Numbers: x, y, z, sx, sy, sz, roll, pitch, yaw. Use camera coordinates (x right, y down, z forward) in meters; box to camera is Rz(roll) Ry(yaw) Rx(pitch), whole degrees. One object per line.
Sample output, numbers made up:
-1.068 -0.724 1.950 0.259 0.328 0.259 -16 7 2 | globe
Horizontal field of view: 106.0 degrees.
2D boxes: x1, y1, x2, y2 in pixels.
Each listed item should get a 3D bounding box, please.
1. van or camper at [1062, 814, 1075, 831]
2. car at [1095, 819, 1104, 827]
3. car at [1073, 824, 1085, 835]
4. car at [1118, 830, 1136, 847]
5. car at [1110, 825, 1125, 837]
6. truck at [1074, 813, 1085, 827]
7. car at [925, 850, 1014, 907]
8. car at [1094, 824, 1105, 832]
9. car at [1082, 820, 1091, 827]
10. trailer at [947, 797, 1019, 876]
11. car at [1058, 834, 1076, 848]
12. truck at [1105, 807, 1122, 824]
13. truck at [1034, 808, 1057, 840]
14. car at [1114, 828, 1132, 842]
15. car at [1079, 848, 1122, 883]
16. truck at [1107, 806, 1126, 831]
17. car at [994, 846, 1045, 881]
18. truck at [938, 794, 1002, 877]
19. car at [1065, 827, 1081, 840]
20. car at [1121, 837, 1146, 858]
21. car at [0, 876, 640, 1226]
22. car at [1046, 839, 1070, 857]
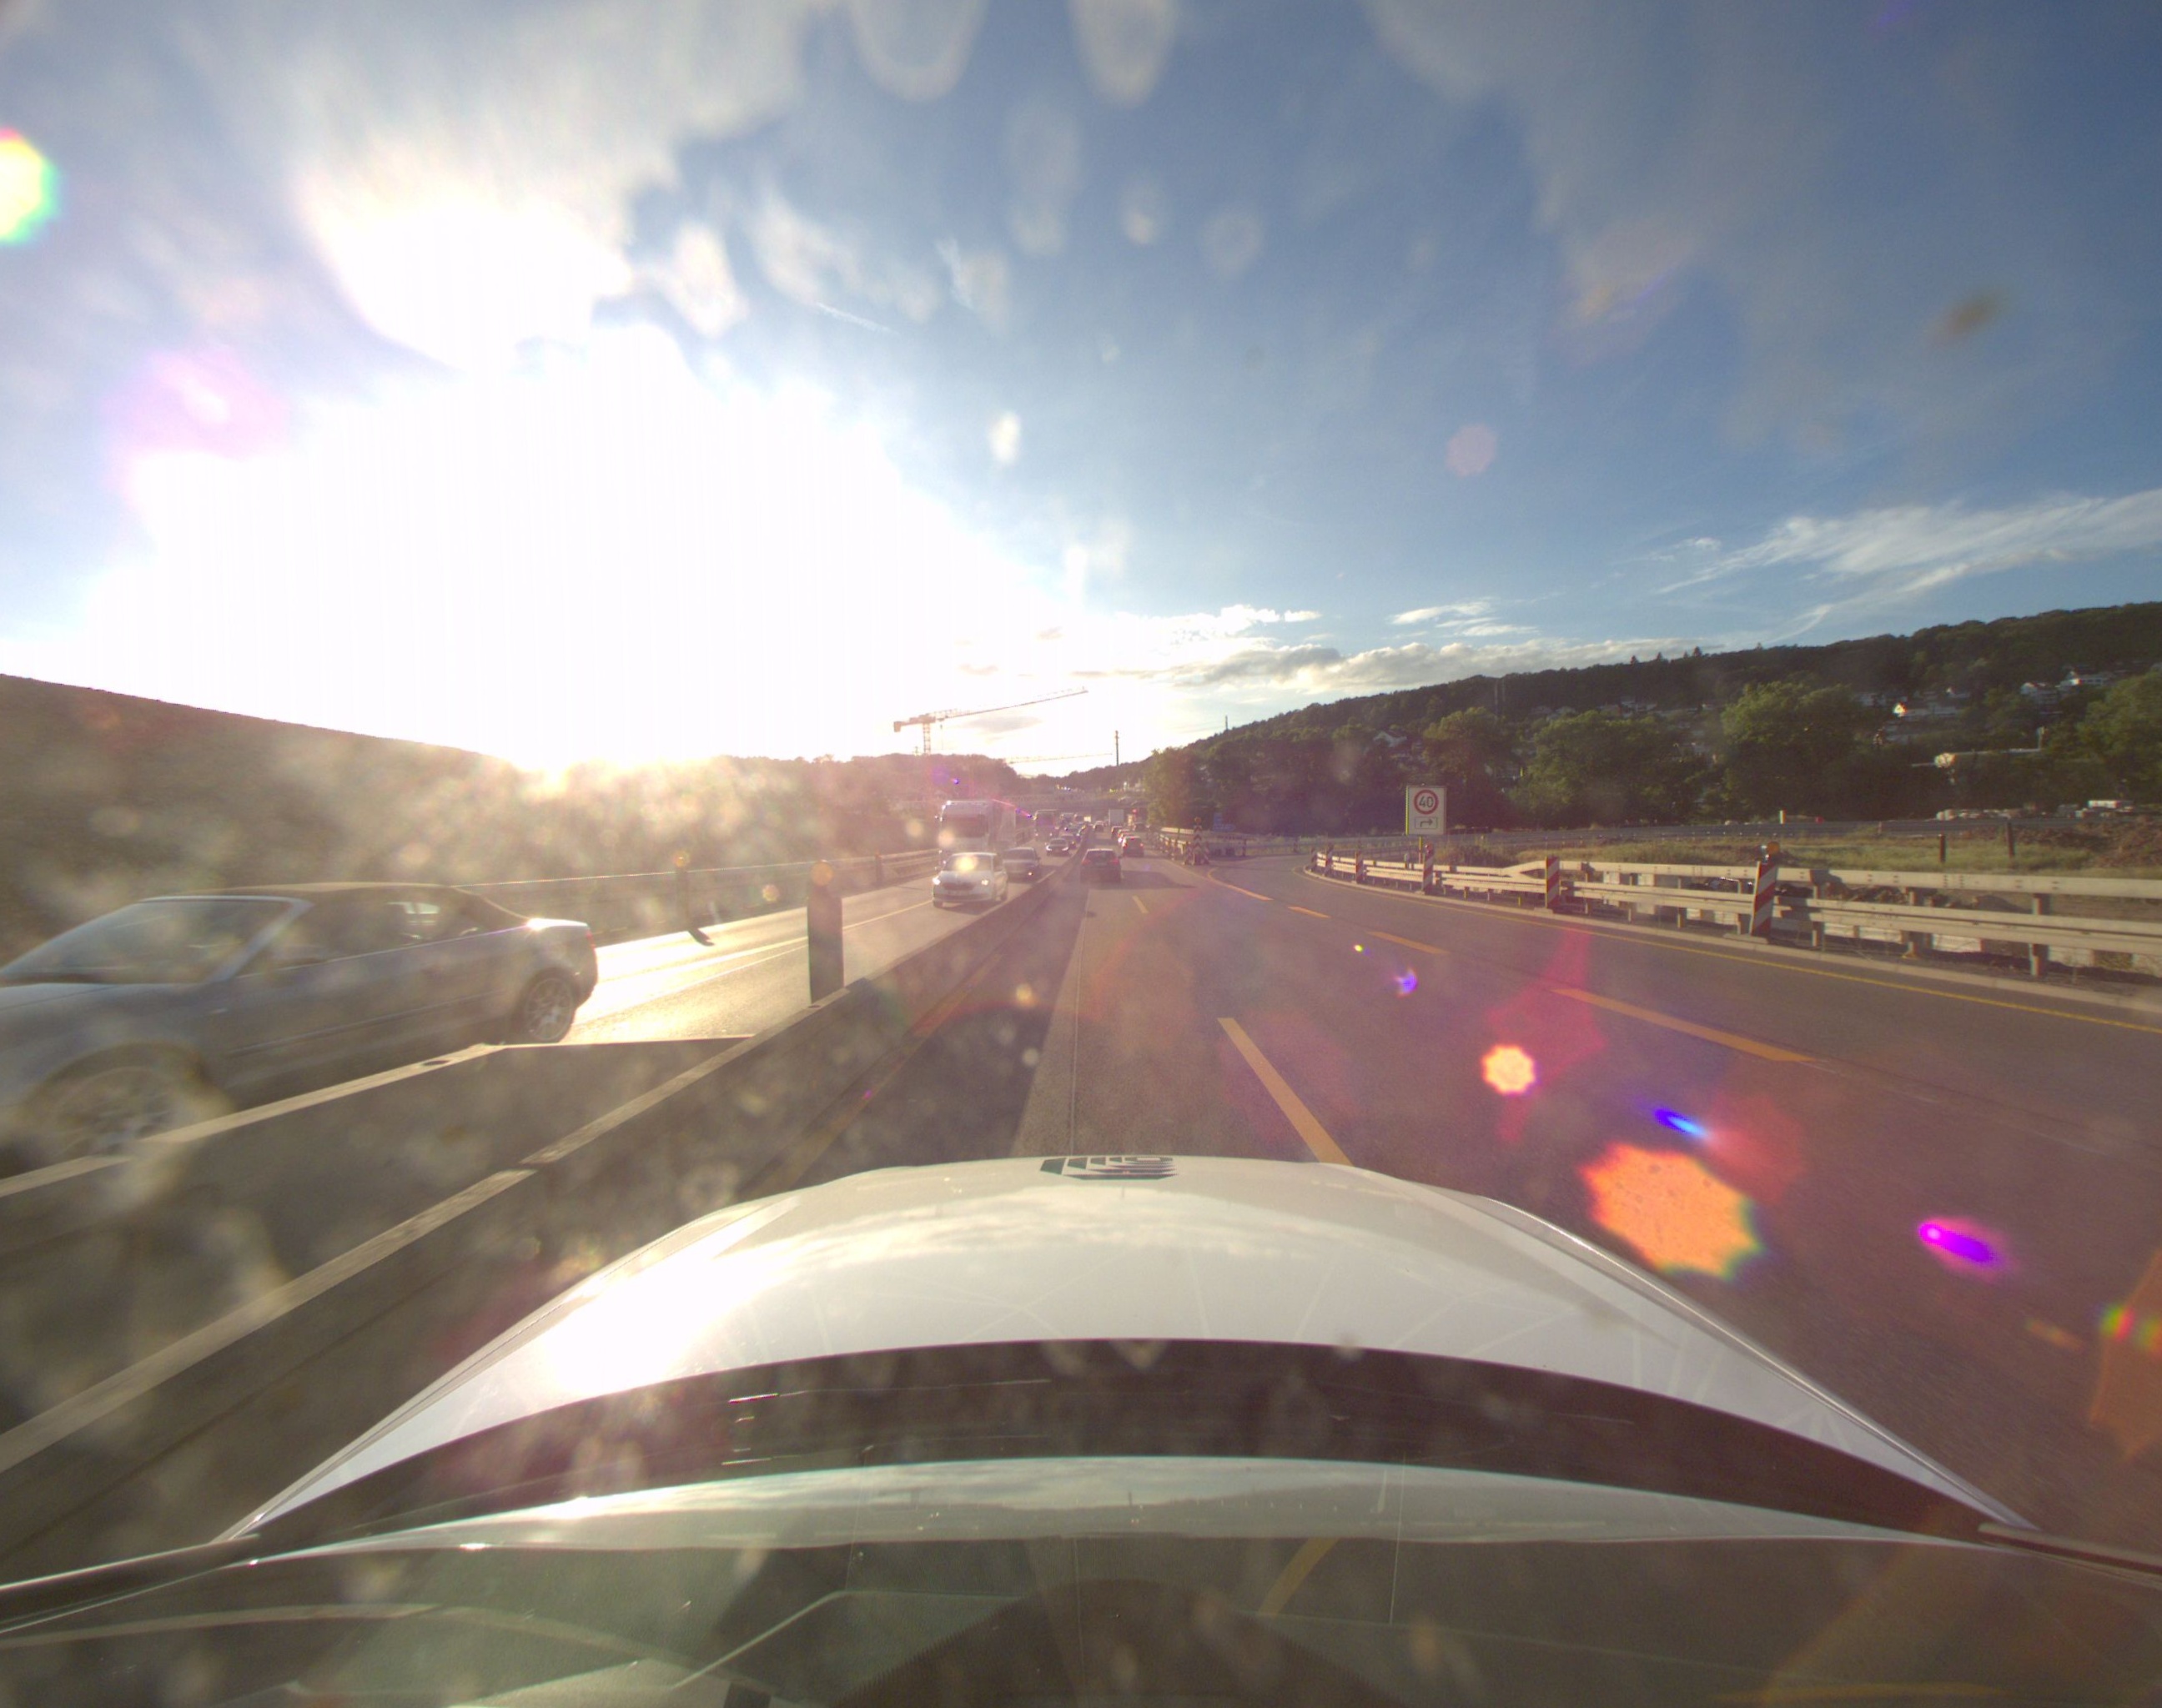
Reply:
-2.678 -6.837 174.397 2.449 3.497 7.417 -1 3 1 | van or camper
4.015 -6.676 176.868 1.916 1.552 4.001 0 -1 2 | car
-0.407 -4.358 145.906 1.986 1.794 4.002 0 0 2 | car
4.705 -1.575 83.135 1.767 1.585 4.138 0 3 2 | car
4.972 -3.172 111.683 1.808 1.632 4.412 0 2 1 | car
-0.477 -10.016 241.292 2.803 4.047 5.677 -1 2 2 | truck
-3.095 0.652 23.402 1.781 1.488 4.222 0 0 3 | car
3.170 -4.488 139.650 1.856 1.419 4.002 0 2 1 | car
1.384 -7.319 196.544 1.916 1.552 4.002 0 0 2 | car
-5.845 -0.996 50.908 2.522 4.213 13.937 0 0 1 | trailer
-1.424 -1.398 85.439 1.709 1.409 4.329 -1 1 1 | car
9.032 -10.737 227.190 3.879 4.497 13.846 0 3 -1 | truck
-4.666 -3.969 107.319 2.760 4.080 5.776 0 2 0 | truck
4.975 -2.245 96.154 1.869 1.599 4.966 -1 2 0 | car
0.819 0.461 35.654 1.764 1.390 3.999 0 1 0 | car
6.667 -6.828 153.914 3.373 4.496 15.279 0 4 2 | truck
-2.783 0.387 37.947 1.843 1.483 4.513 -2 0 2 | car
-5.992 -0.963 44.680 2.543 4.220 6.052 0 0 1 | truck
-0.983 -2.624 105.151 1.905 1.609 4.497 -1 1 1 | car
4.258 -0.496 66.373 1.806 1.615 4.526 0 0 0 | car
-5.216 0.874 5.368 1.780 1.357 4.641 0 0 5 | car
-1.965 -0.551 70.515 1.830 1.409 4.497 -1 1 1 | car
